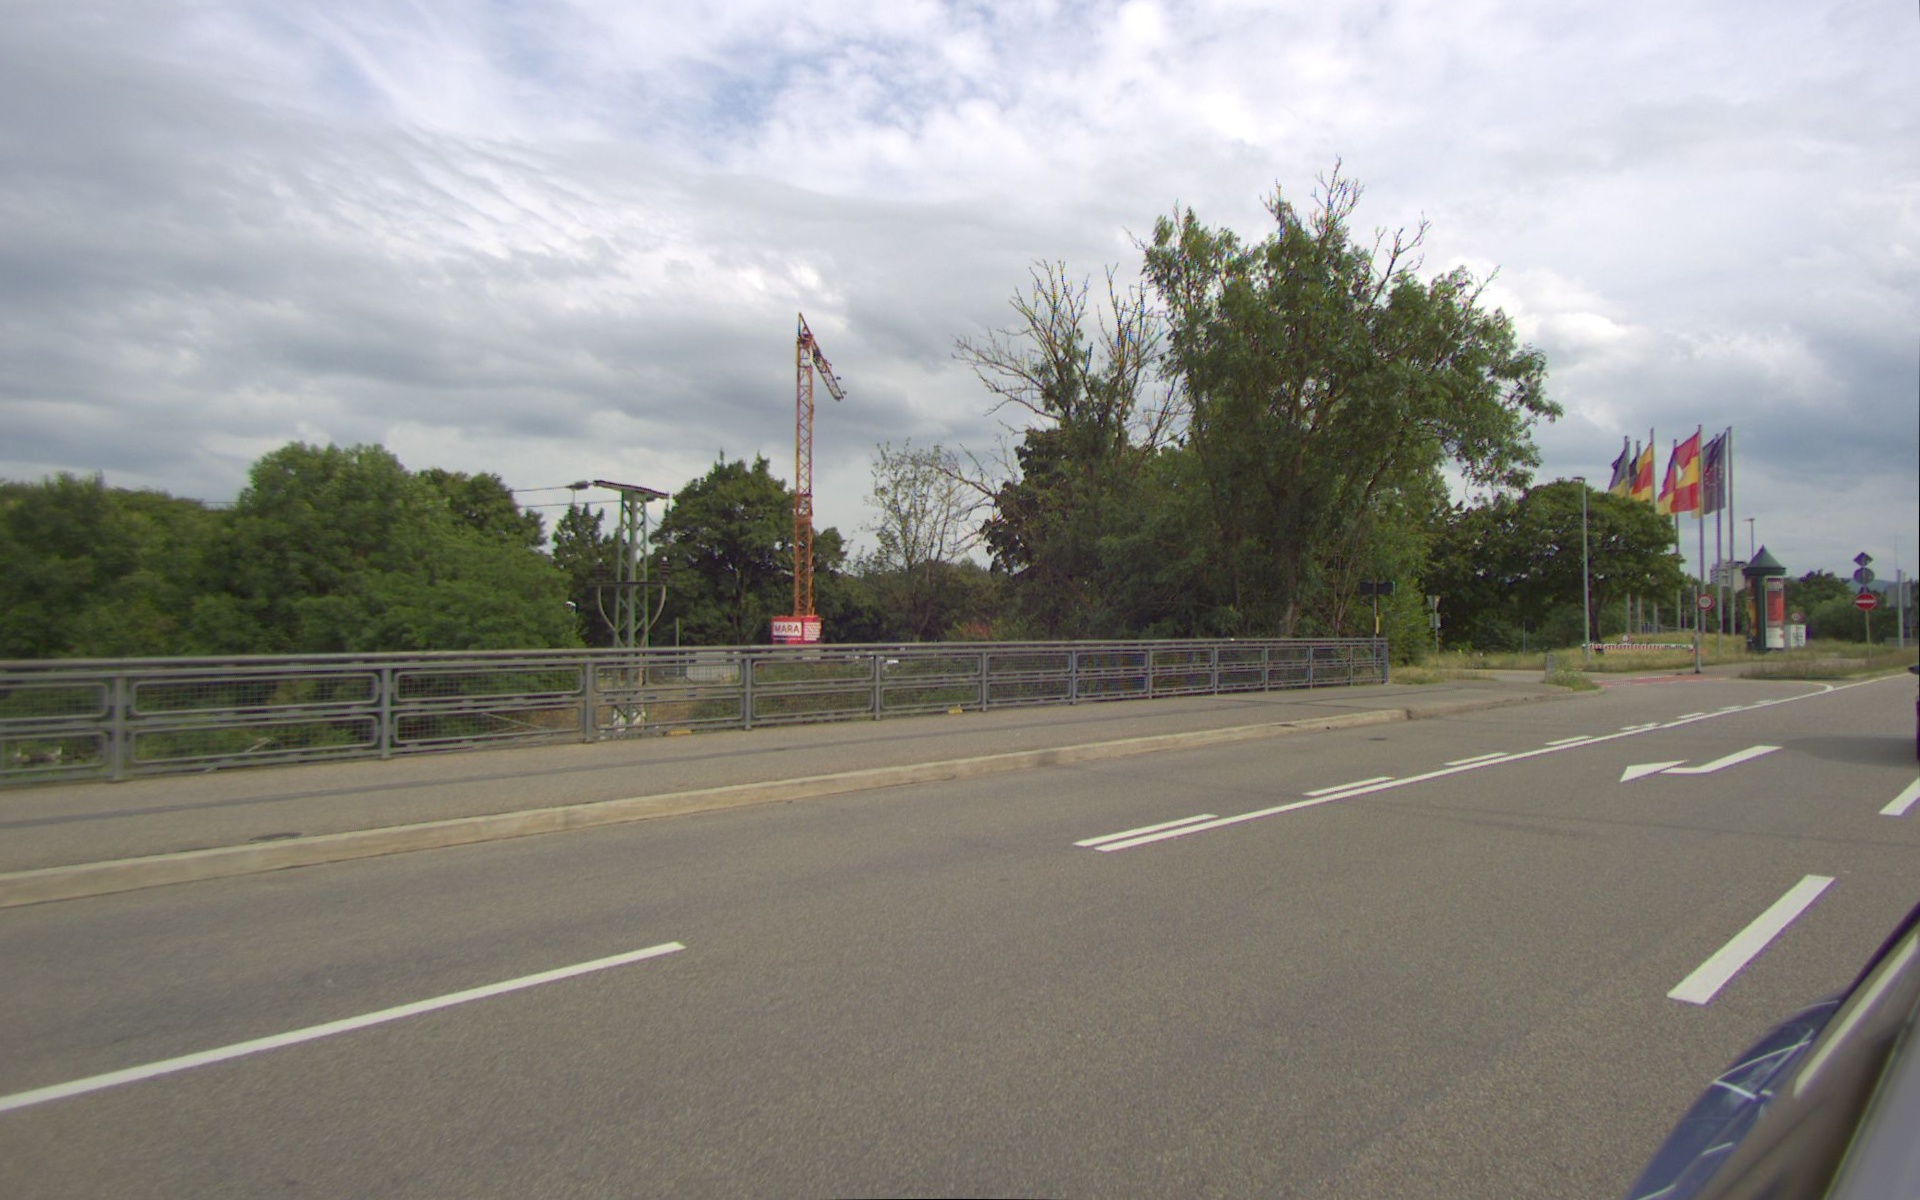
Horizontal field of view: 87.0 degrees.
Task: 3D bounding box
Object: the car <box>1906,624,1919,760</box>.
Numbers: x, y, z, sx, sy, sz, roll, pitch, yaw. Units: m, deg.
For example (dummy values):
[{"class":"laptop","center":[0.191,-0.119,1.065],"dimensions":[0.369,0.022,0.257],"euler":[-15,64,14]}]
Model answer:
[{"class":"car","center":[12.045,0.987,11.249],"dimensions":[4.647,1.381,1.850],"euler":[2,-2,-42]}]
